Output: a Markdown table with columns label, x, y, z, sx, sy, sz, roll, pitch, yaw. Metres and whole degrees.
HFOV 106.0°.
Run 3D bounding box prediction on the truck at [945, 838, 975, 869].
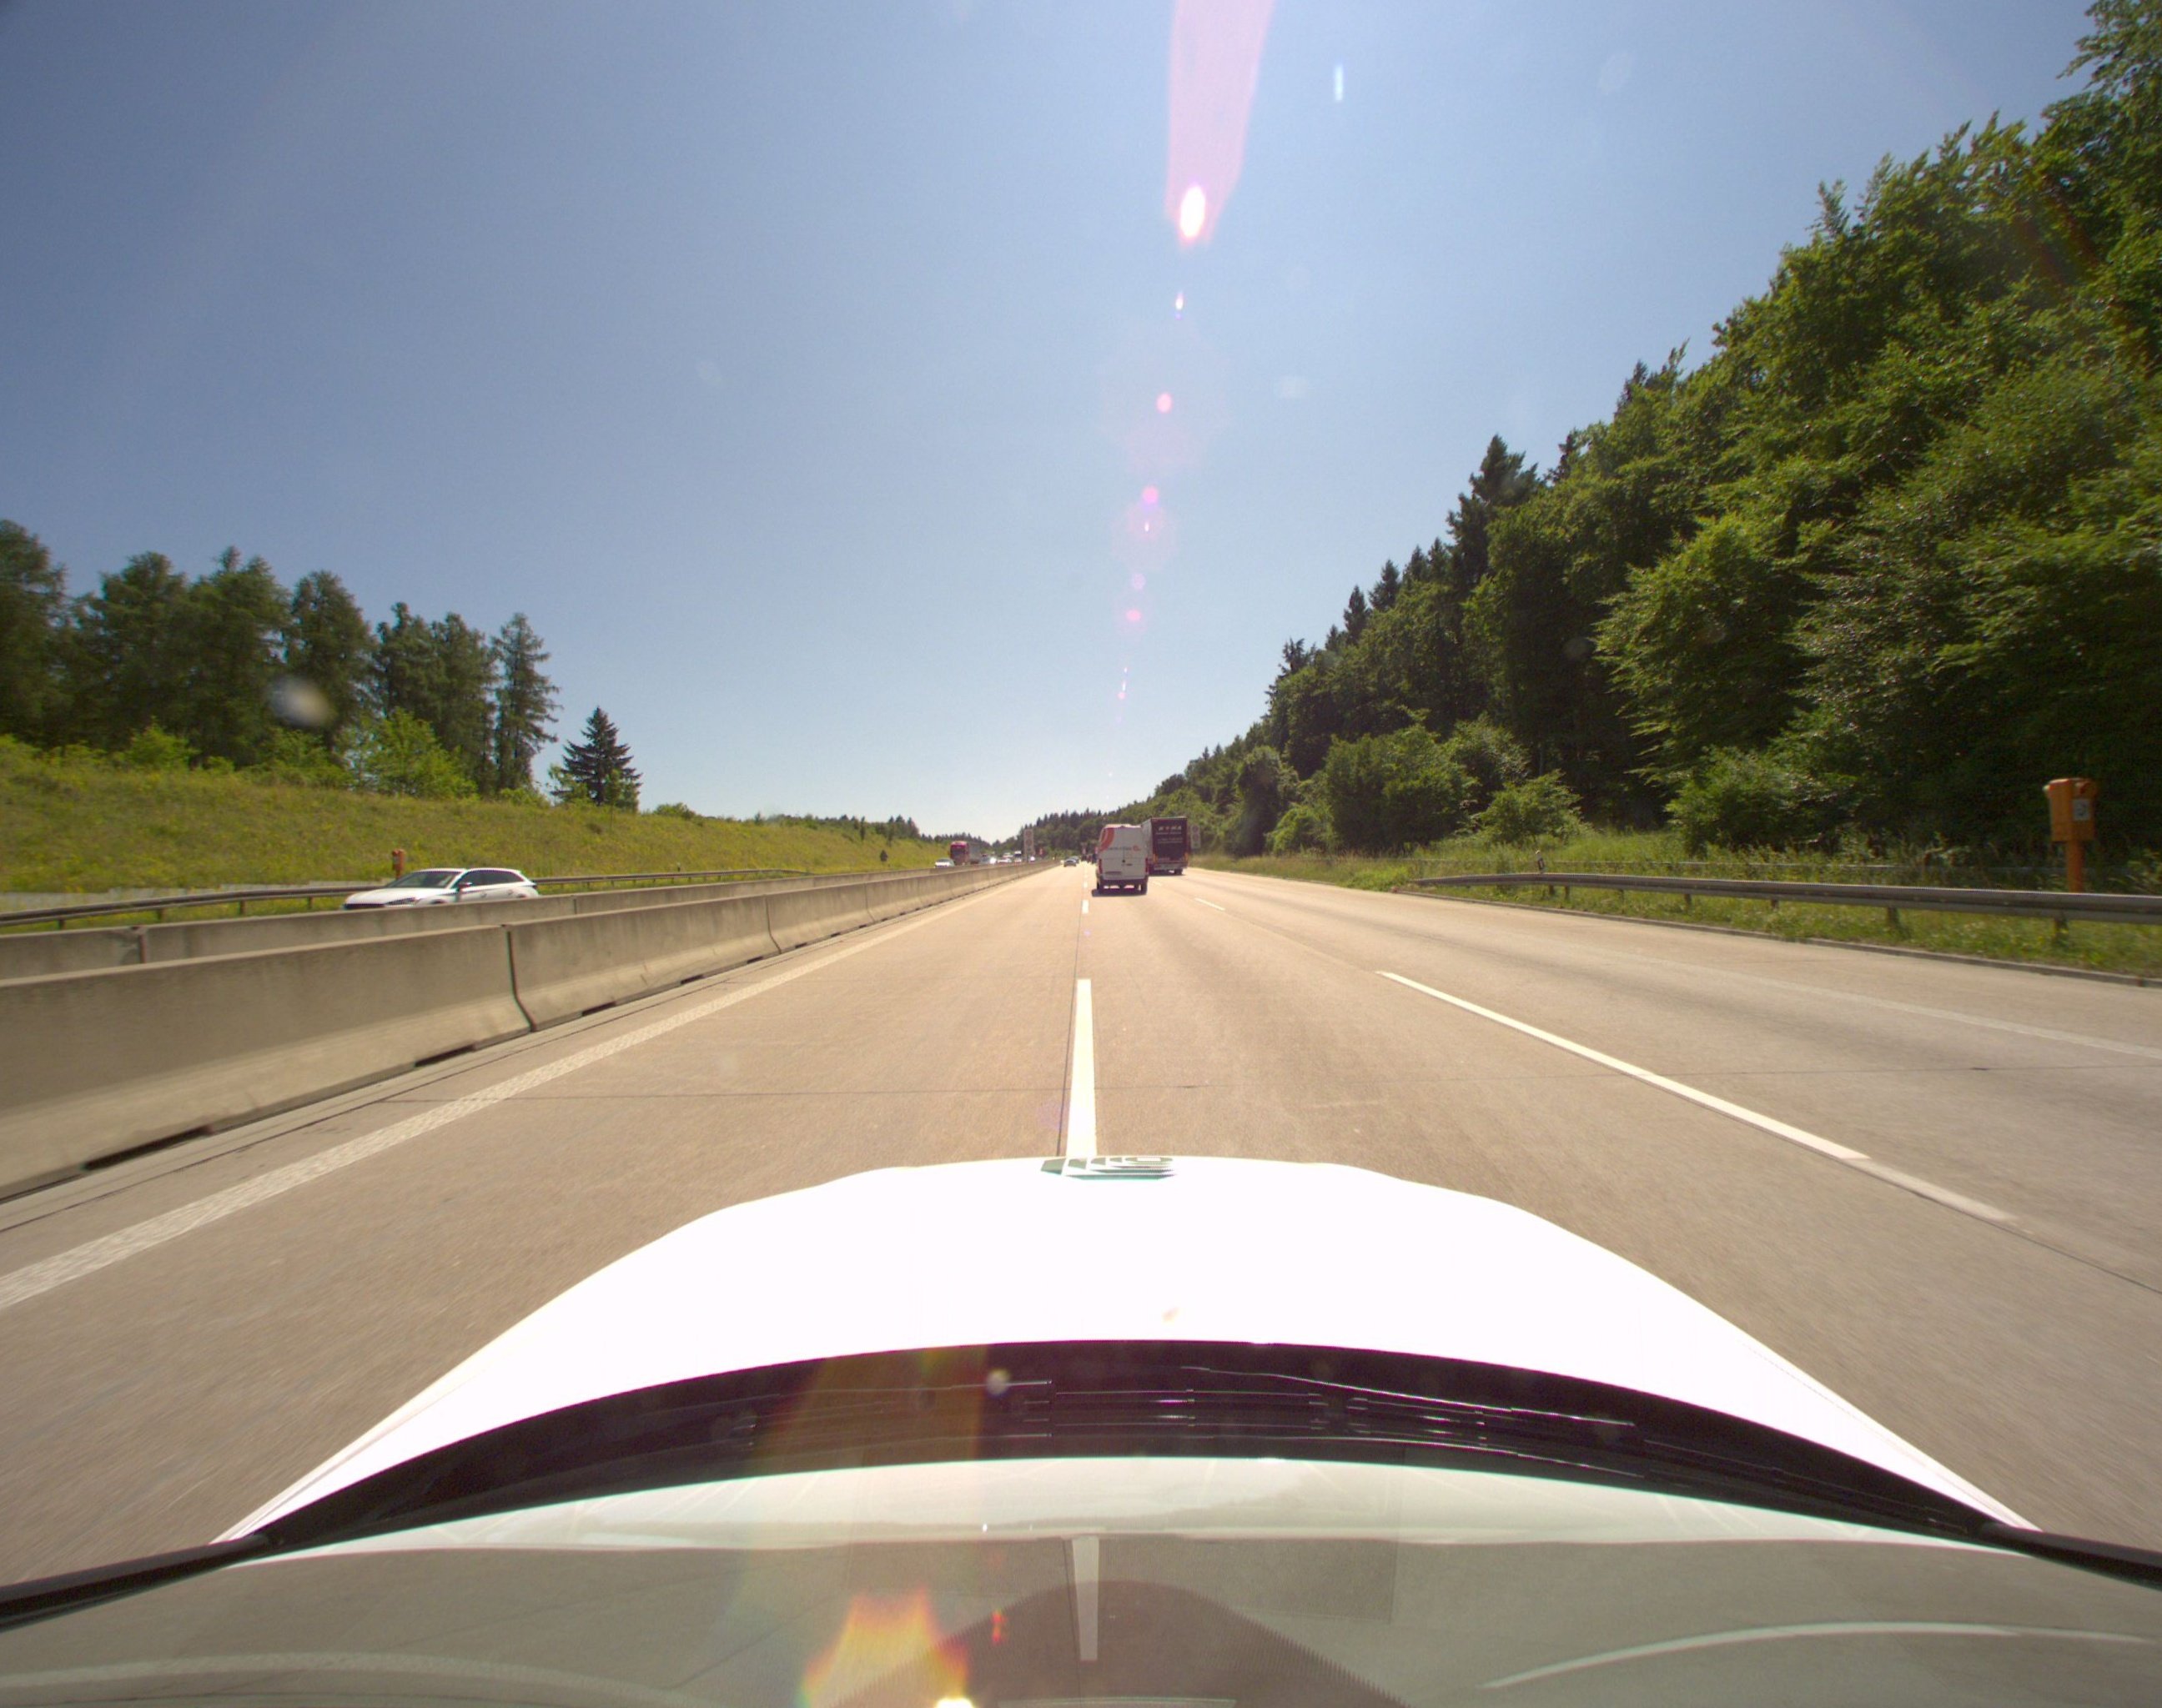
| label | x | y | z | sx | sy | sz | roll | pitch | yaw |
| --- | --- | --- | --- | --- | --- | --- | --- | --- | --- |
| truck | -18.121 | -0.070 | 122.214 | 3.376 | 4.431 | 6.800 | -1 | -1 | 0 |

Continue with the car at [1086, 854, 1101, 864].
| label | x | y | z | sx | sy | sz | roll | pitch | yaw |
| --- | --- | --- | --- | --- | --- | --- | --- | --- | --- |
| car | 2.071 | 0.867 | 136.565 | 1.992 | 1.684 | 3.989 | -1 | -1 | -8 |

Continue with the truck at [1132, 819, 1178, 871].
| label | x | y | z | sx | sy | sz | roll | pitch | yaw |
| --- | --- | --- | --- | --- | --- | --- | --- | --- | --- |
| truck | 6.296 | -0.707 | 70.915 | 3.148 | 4.017 | 10.610 | -3 | 0 | 1 |

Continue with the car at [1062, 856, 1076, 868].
| label | x | y | z | sx | sy | sz | roll | pitch | yaw |
| --- | --- | --- | --- | --- | --- | --- | --- | --- | --- |
| car | -1.685 | 1.155 | 119.479 | 1.987 | 1.684 | 3.999 | -1 | -1 | 0 |

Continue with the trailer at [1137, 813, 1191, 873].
| label | x | y | z | sx | sy | sz | roll | pitch | yaw |
| --- | --- | --- | --- | --- | --- | --- | --- | --- | --- |
| trailer | 6.063 | -0.719 | 61.066 | 3.124 | 4.017 | 9.089 | -3 | 0 | 1 |

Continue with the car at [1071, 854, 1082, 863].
| label | x | y | z | sx | sy | sz | roll | pitch | yaw |
| --- | --- | --- | --- | --- | --- | --- | --- | --- | --- |
| car | -0.887 | 0.808 | 155.047 | 1.989 | 1.684 | 3.994 | -1 | -1 | -4 |

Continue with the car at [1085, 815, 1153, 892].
| label | x | y | z | sx | sy | sz | roll | pitch | yaw |
| --- | --- | --- | --- | --- | --- | --- | --- | --- | --- |
| car | 1.458 | -0.043 | 33.670 | 2.221 | 2.844 | 5.449 | -2 | 0 | -2 |

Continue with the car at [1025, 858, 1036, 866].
| label | x | y | z | sx | sy | sz | roll | pitch | yaw |
| --- | --- | --- | --- | --- | --- | --- | --- | --- | --- |
| car | -10.244 | 1.586 | 166.041 | 1.987 | 1.692 | 4.371 | -1 | 0 | 0 |

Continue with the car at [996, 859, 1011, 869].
| label | x | y | z | sx | sy | sz | roll | pitch | yaw |
| --- | --- | --- | --- | --- | --- | --- | --- | --- | --- |
| car | -13.393 | 1.741 | 141.064 | 1.987 | 1.692 | 4.816 | -1 | 0 | 0 |

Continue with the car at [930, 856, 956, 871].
| label | x | y | z | sx | sy | sz | roll | pitch | yaw |
| --- | --- | --- | --- | --- | --- | --- | --- | --- | --- |
| car | -14.535 | 0.976 | 86.102 | 1.987 | 1.564 | 4.000 | -1 | 0 | 0 |

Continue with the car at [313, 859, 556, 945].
| label | x | y | z | sx | sy | sz | roll | pitch | yaw |
| --- | --- | --- | --- | --- | --- | --- | --- | --- | --- |
| car | -15.430 | 1.036 | 19.884 | 2.001 | 1.807 | 4.854 | -1 | 0 | 0 |
